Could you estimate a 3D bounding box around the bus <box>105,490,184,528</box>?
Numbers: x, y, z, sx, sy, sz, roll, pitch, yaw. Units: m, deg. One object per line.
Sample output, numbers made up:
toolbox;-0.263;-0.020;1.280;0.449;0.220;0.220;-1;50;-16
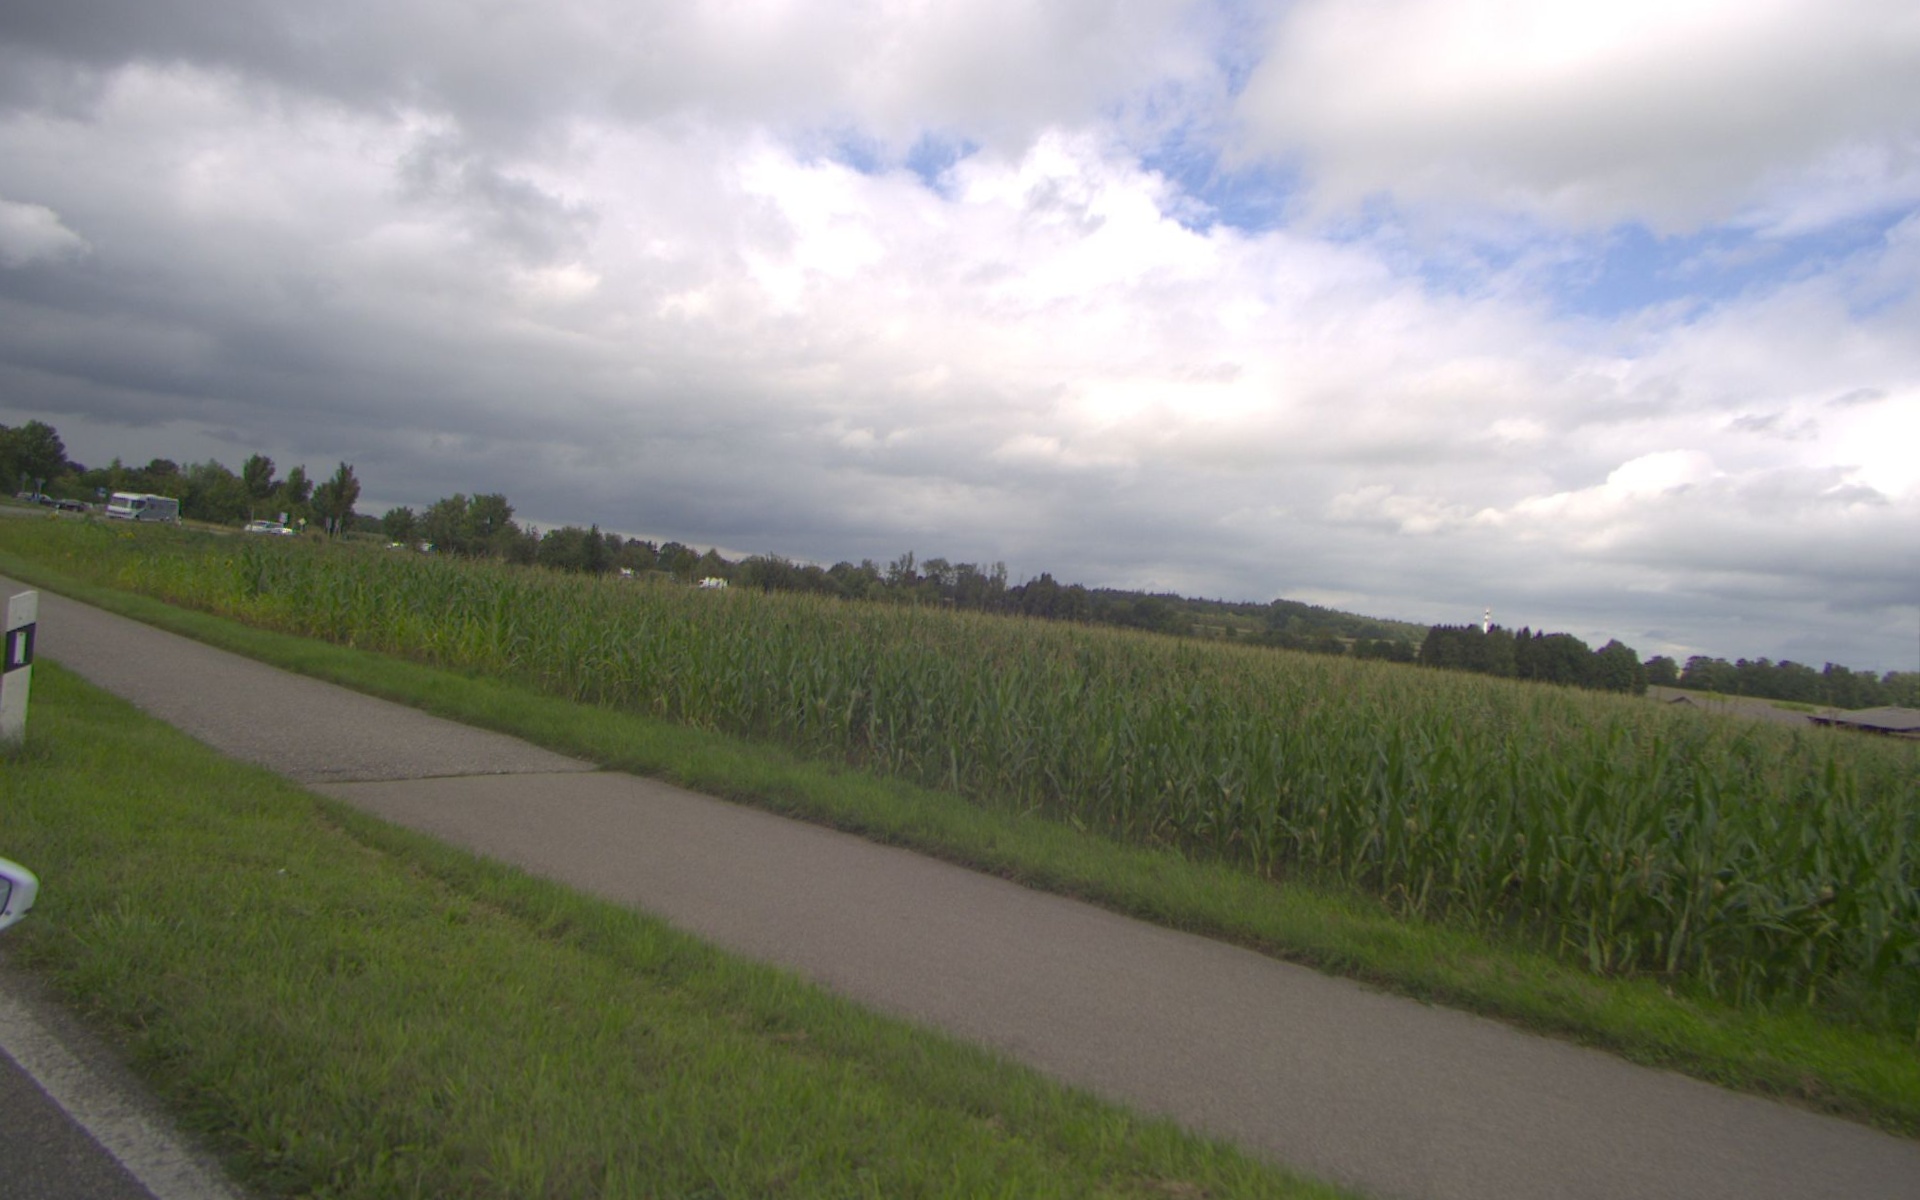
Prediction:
bus;-79.801;-8.812;98.619;2.445;2.743;8.406;8;-1;-14
